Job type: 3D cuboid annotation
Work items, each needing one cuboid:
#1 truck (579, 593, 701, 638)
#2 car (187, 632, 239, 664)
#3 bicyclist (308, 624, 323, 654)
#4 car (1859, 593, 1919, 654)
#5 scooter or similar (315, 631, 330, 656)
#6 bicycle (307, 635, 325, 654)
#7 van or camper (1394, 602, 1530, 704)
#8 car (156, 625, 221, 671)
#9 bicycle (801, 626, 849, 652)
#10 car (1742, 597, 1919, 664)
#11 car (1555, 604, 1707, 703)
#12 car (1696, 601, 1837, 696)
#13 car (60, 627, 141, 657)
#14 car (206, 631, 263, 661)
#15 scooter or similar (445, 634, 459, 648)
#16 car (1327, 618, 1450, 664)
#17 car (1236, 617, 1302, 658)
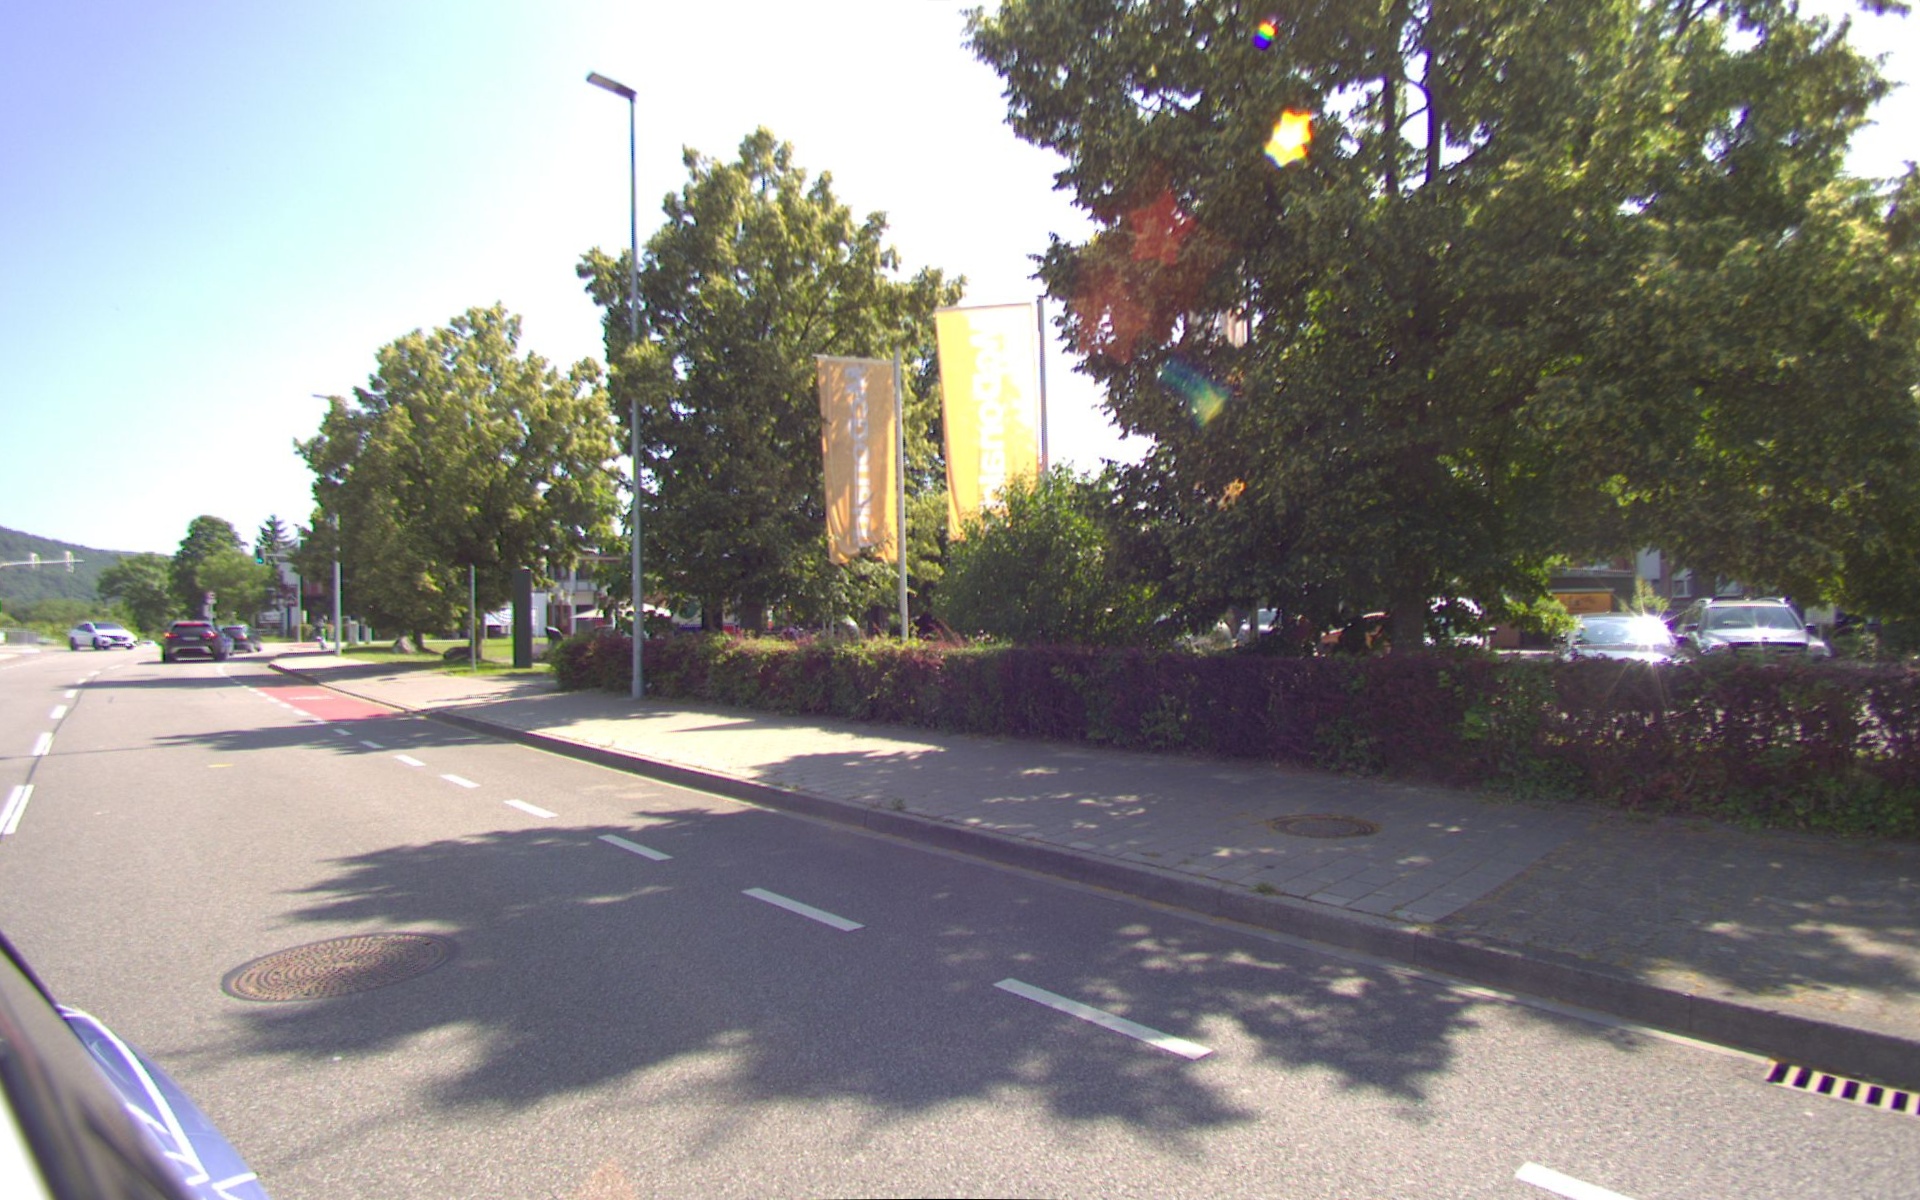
[{"bbox_3d":[-25.359,1.241,80.603,9.013,3.412,3.324,-1,-2,-16],"label":"truck"},{"bbox_3d":[-34.515,2.203,46.825,1.633,1.391,4.011,0,-2,-33],"label":"car"},{"bbox_3d":[-39.901,2.397,62.640,0.700,1.802,0.811,0,-2,-25],"label":"bicyclist"},{"bbox_3d":[26.340,0.636,28.009,1.796,1.610,3.950,-2,-2,37],"label":"car"},{"bbox_3d":[-32.052,2.181,50.900,0.465,1.193,1.370,0,-2,-25],"label":"scooter or similar"},{"bbox_3d":[-39.869,2.747,62.634,0.687,1.113,1.761,2,-2,-25],"label":"bicycle"},{"bbox_3d":[9.923,0.967,19.825,1.993,1.753,4.238,-2,-2,31],"label":"van or camper"},{"bbox_3d":[-31.067,1.895,40.846,1.924,1.708,4.624,0,-2,-35],"label":"car"},{"bbox_3d":[-5.214,1.505,39.089,1.828,1.000,0.309,-1,-2,-12],"label":"bicycle"},{"bbox_3d":[21.214,0.737,24.691,3.376,1.538,1.505,-1,-2,-12],"label":"car"},{"bbox_3d":[11.320,0.837,17.124,1.889,1.471,3.954,-2,-2,34],"label":"car"},{"bbox_3d":[14.669,0.837,18.598,1.737,1.538,3.952,-2,-2,35],"label":"car"},{"bbox_3d":[-52.193,2.534,61.465,4.604,1.732,1.984,-1,-2,24],"label":"car"},{"bbox_3d":[-38.157,2.381,53.315,1.754,1.508,4.737,0,-2,-27],"label":"car"},{"bbox_3d":[-41.776,3.400,83.210,0.493,1.132,1.506,-1,-1,-6],"label":"scooter or similar"},{"bbox_3d":[13.513,1.278,31.984,3.336,1.386,1.573,-2,-2,34],"label":"car"},{"bbox_3d":[10.913,1.291,35.648,1.392,1.386,3.308,-2,-2,32],"label":"car"}]
